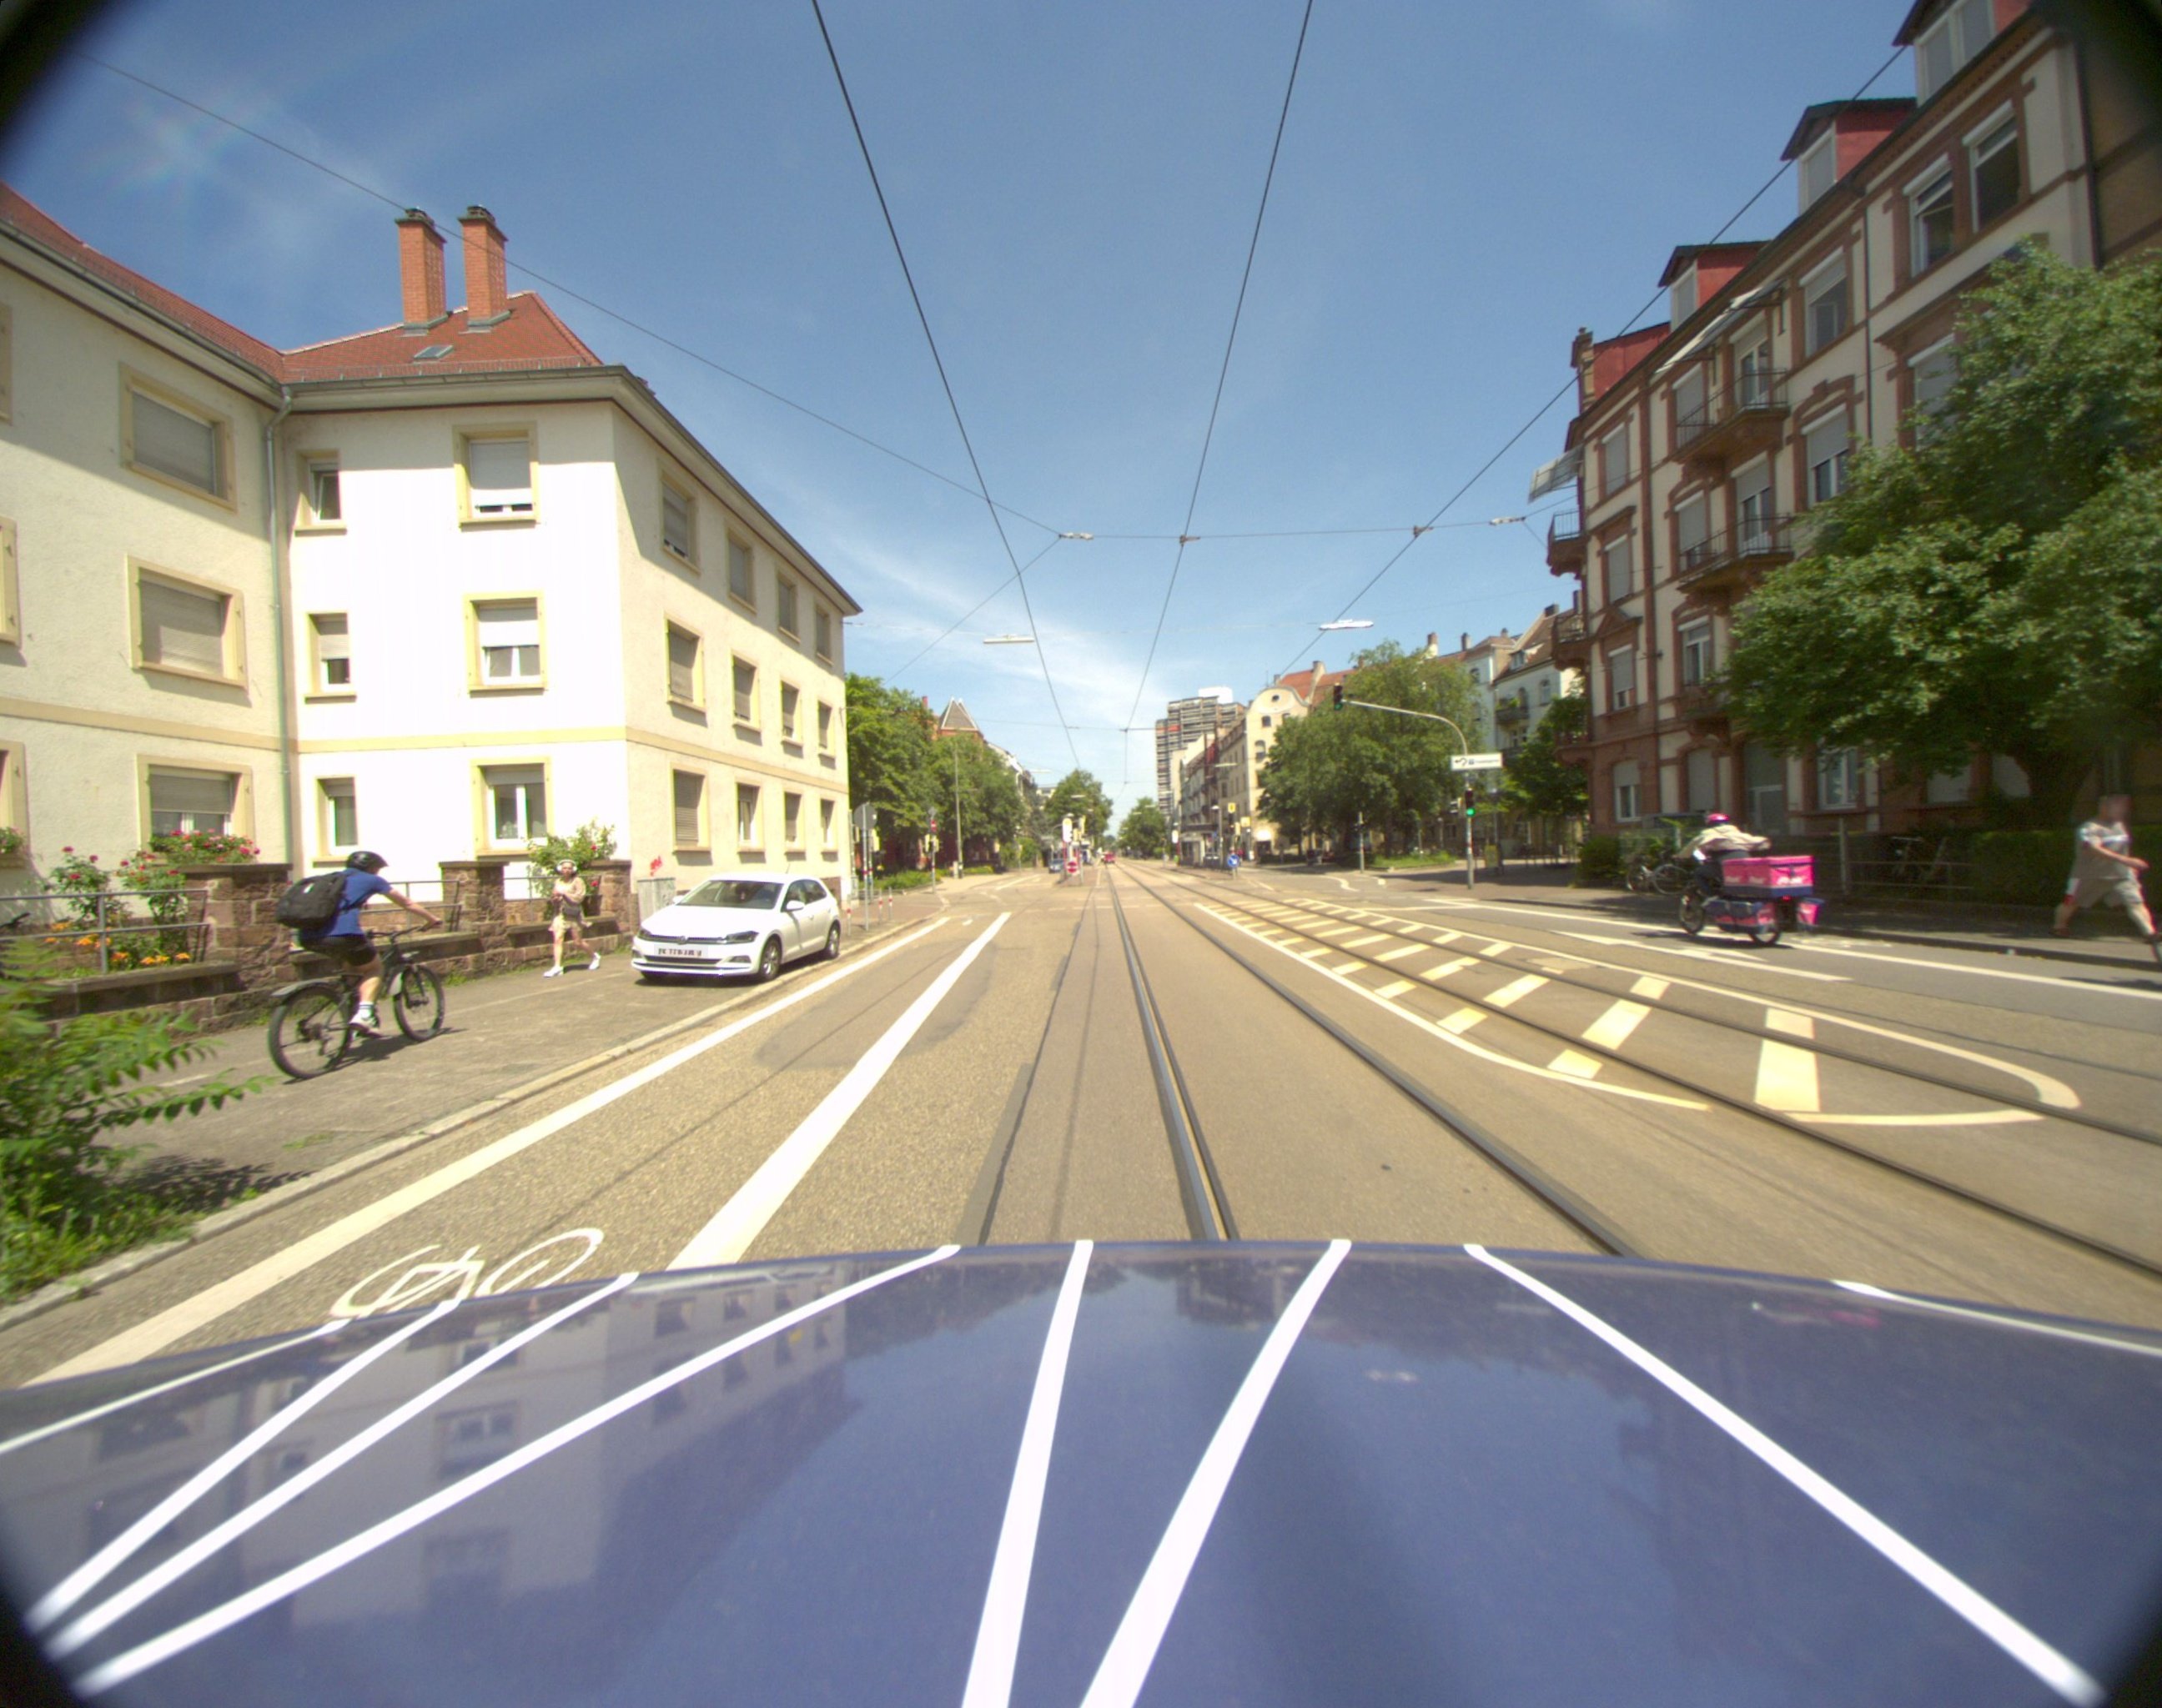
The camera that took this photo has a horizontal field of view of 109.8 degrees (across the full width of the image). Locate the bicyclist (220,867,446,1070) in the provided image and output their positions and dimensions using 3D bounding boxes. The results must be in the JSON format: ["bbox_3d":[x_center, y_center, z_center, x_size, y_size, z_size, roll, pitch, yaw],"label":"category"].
[{"bbox_3d":[-5.908,0.854,6.079,0.712,1.443,1.010,-2,1,4],"label":"bicyclist"}]

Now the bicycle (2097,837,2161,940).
[{"bbox_3d":[12.048,0.376,7.818,0.639,1.087,1.931,-5,0,5],"label":"bicycle"}]

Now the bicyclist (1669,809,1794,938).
[{"bbox_3d":[8.689,0.250,10.191,0.809,1.620,0.980,-2,1,2],"label":"bicyclist"}]

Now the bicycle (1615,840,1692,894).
[{"bbox_3d":[13.170,0.274,17.546,0.574,1.162,1.716,-3,1,5],"label":"bicycle"}]

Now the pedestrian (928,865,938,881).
[{"bbox_3d":[-10.940,1.366,56.136,0.652,1.143,0.642,-3,1,-14],"label":"pedestrian"}]

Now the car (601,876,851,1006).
[{"bbox_3d":[-5.043,1.143,11.516,1.782,1.402,4.156,2,0,0],"label":"car"}]

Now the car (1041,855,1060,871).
[{"bbox_3d":[-3.133,0.913,77.933,1.737,1.543,4.423,-2,0,0],"label":"car"}]

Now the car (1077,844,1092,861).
[{"bbox_3d":[0.555,-0.256,119.520,2.236,2.478,5.265,-2,1,0],"label":"car"}]

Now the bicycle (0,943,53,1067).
[{"bbox_3d":[-9.779,1.360,6.105,0.528,1.057,1.864,-2,0,-4],"label":"bicycle"}]

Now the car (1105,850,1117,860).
[{"bbox_3d":[5.047,0.136,126.438,1.737,1.543,4.423,-2,0,0],"label":"car"}]

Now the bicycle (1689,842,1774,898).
[{"bbox_3d":[13.127,0.297,15.391,0.460,1.050,1.565,-3,1,5],"label":"bicycle"}]

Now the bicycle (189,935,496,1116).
[{"bbox_3d":[-5.864,1.301,6.222,0.603,1.045,1.823,-2,0,4],"label":"bicycle"}]

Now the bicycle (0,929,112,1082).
[{"bbox_3d":[-9.006,1.261,5.889,0.598,1.168,1.754,-2,0,5],"label":"bicycle"}]

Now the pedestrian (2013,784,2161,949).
[{"bbox_3d":[11.308,0.110,8.333,0.873,1.690,1.014,-3,1,8],"label":"pedestrian"}]

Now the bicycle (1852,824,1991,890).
[{"bbox_3d":[13.848,0.044,12.542,1.650,0.990,0.495,-3,1,3],"label":"bicycle"}]

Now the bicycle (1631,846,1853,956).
[{"bbox_3d":[8.698,0.549,10.218,0.809,1.264,2.551,-2,0,2],"label":"bicycle"}]

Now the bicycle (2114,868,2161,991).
[{"bbox_3d":[9.512,0.653,5.883,0.569,1.032,1.829,-2,0,2],"label":"bicycle"}]

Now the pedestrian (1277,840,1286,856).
[{"bbox_3d":[17.768,-0.544,67.270,0.537,1.433,0.520,-2,1,-8],"label":"pedestrian"}]

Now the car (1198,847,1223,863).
[{"bbox_3d":[11.681,0.061,68.752,1.697,1.302,3.848,-3,0,1],"label":"car"}]

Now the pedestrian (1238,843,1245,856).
[{"bbox_3d":[18.002,-0.465,85.096,0.537,1.433,0.520,-2,1,-8],"label":"pedestrian"}]

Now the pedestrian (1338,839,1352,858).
[{"bbox_3d":[19.089,-0.390,55.009,0.822,1.309,0.652,-2,1,8],"label":"pedestrian"}]

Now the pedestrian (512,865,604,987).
[{"bbox_3d":[-7.512,1.012,10.943,0.699,1.660,0.756,-3,1,0],"label":"pedestrian"}]
